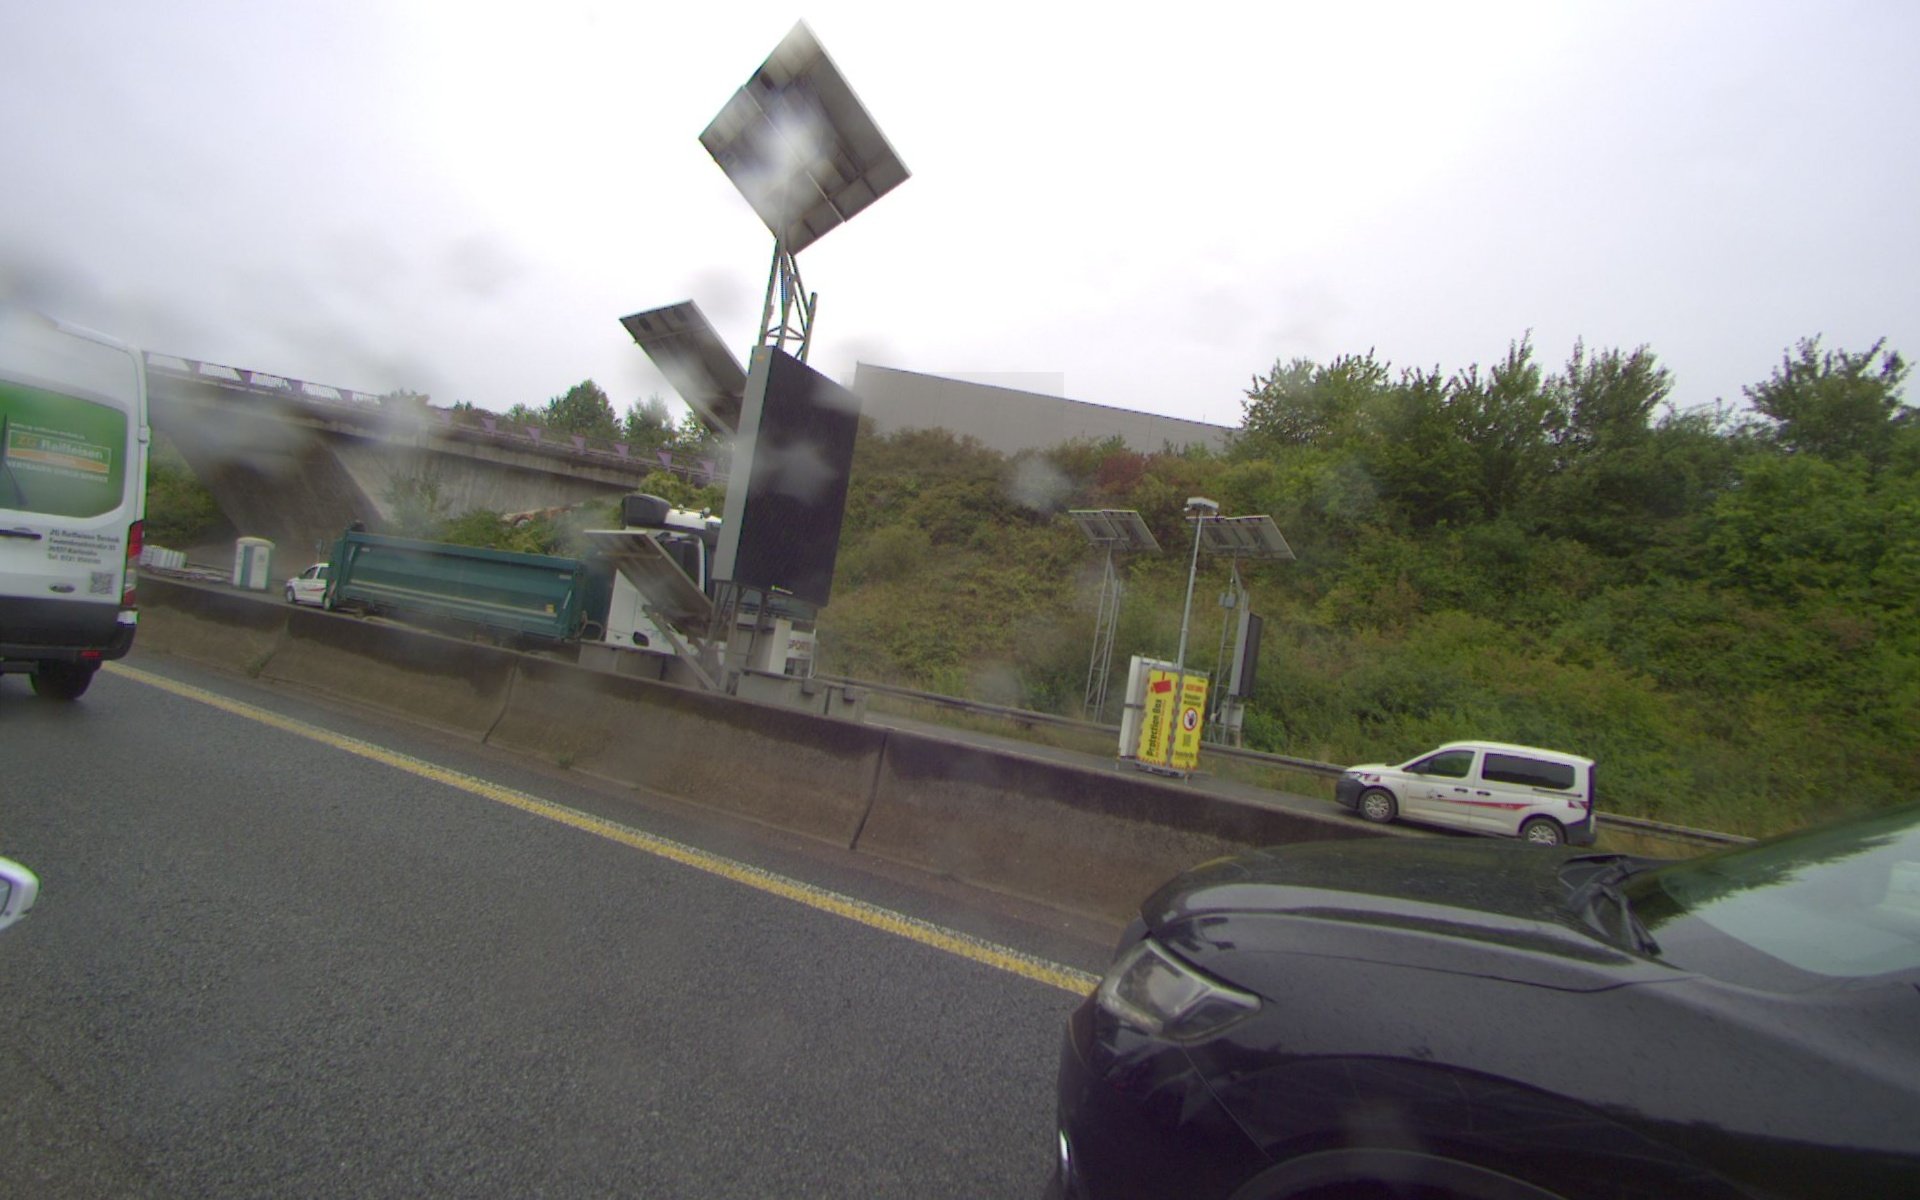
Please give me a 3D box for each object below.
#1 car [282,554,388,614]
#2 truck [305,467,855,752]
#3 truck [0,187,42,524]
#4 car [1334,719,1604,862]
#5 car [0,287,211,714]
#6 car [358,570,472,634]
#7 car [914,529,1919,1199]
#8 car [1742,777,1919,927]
[{"bbox_3d":[-24.484,-0.647,39.389,4.090,1.830,1.850,6,-2,33],"label":"car"},{"bbox_3d":[-6.101,-0.074,15.257,8.966,3.168,2.525,6,-1,31],"label":"truck"},{"bbox_3d":[-23.095,-4.028,18.041,20.037,5.740,3.987,6,-1,32],"label":"truck"},{"bbox_3d":[9.465,3.452,18.920,4.196,1.778,1.732,6,-2,30],"label":"car"},{"bbox_3d":[-8.720,-0.897,7.942,6.015,2.707,2.149,6,-1,31],"label":"car"},{"bbox_3d":[-19.535,0.051,36.040,4.057,1.765,1.731,6,-2,33],"label":"car"},{"bbox_3d":[2.382,1.012,1.544,4.563,1.694,1.894,6,-2,30],"label":"car"},{"bbox_3d":[14.988,4.066,15.513,4.256,1.790,1.732,6,-2,30],"label":"car"}]
